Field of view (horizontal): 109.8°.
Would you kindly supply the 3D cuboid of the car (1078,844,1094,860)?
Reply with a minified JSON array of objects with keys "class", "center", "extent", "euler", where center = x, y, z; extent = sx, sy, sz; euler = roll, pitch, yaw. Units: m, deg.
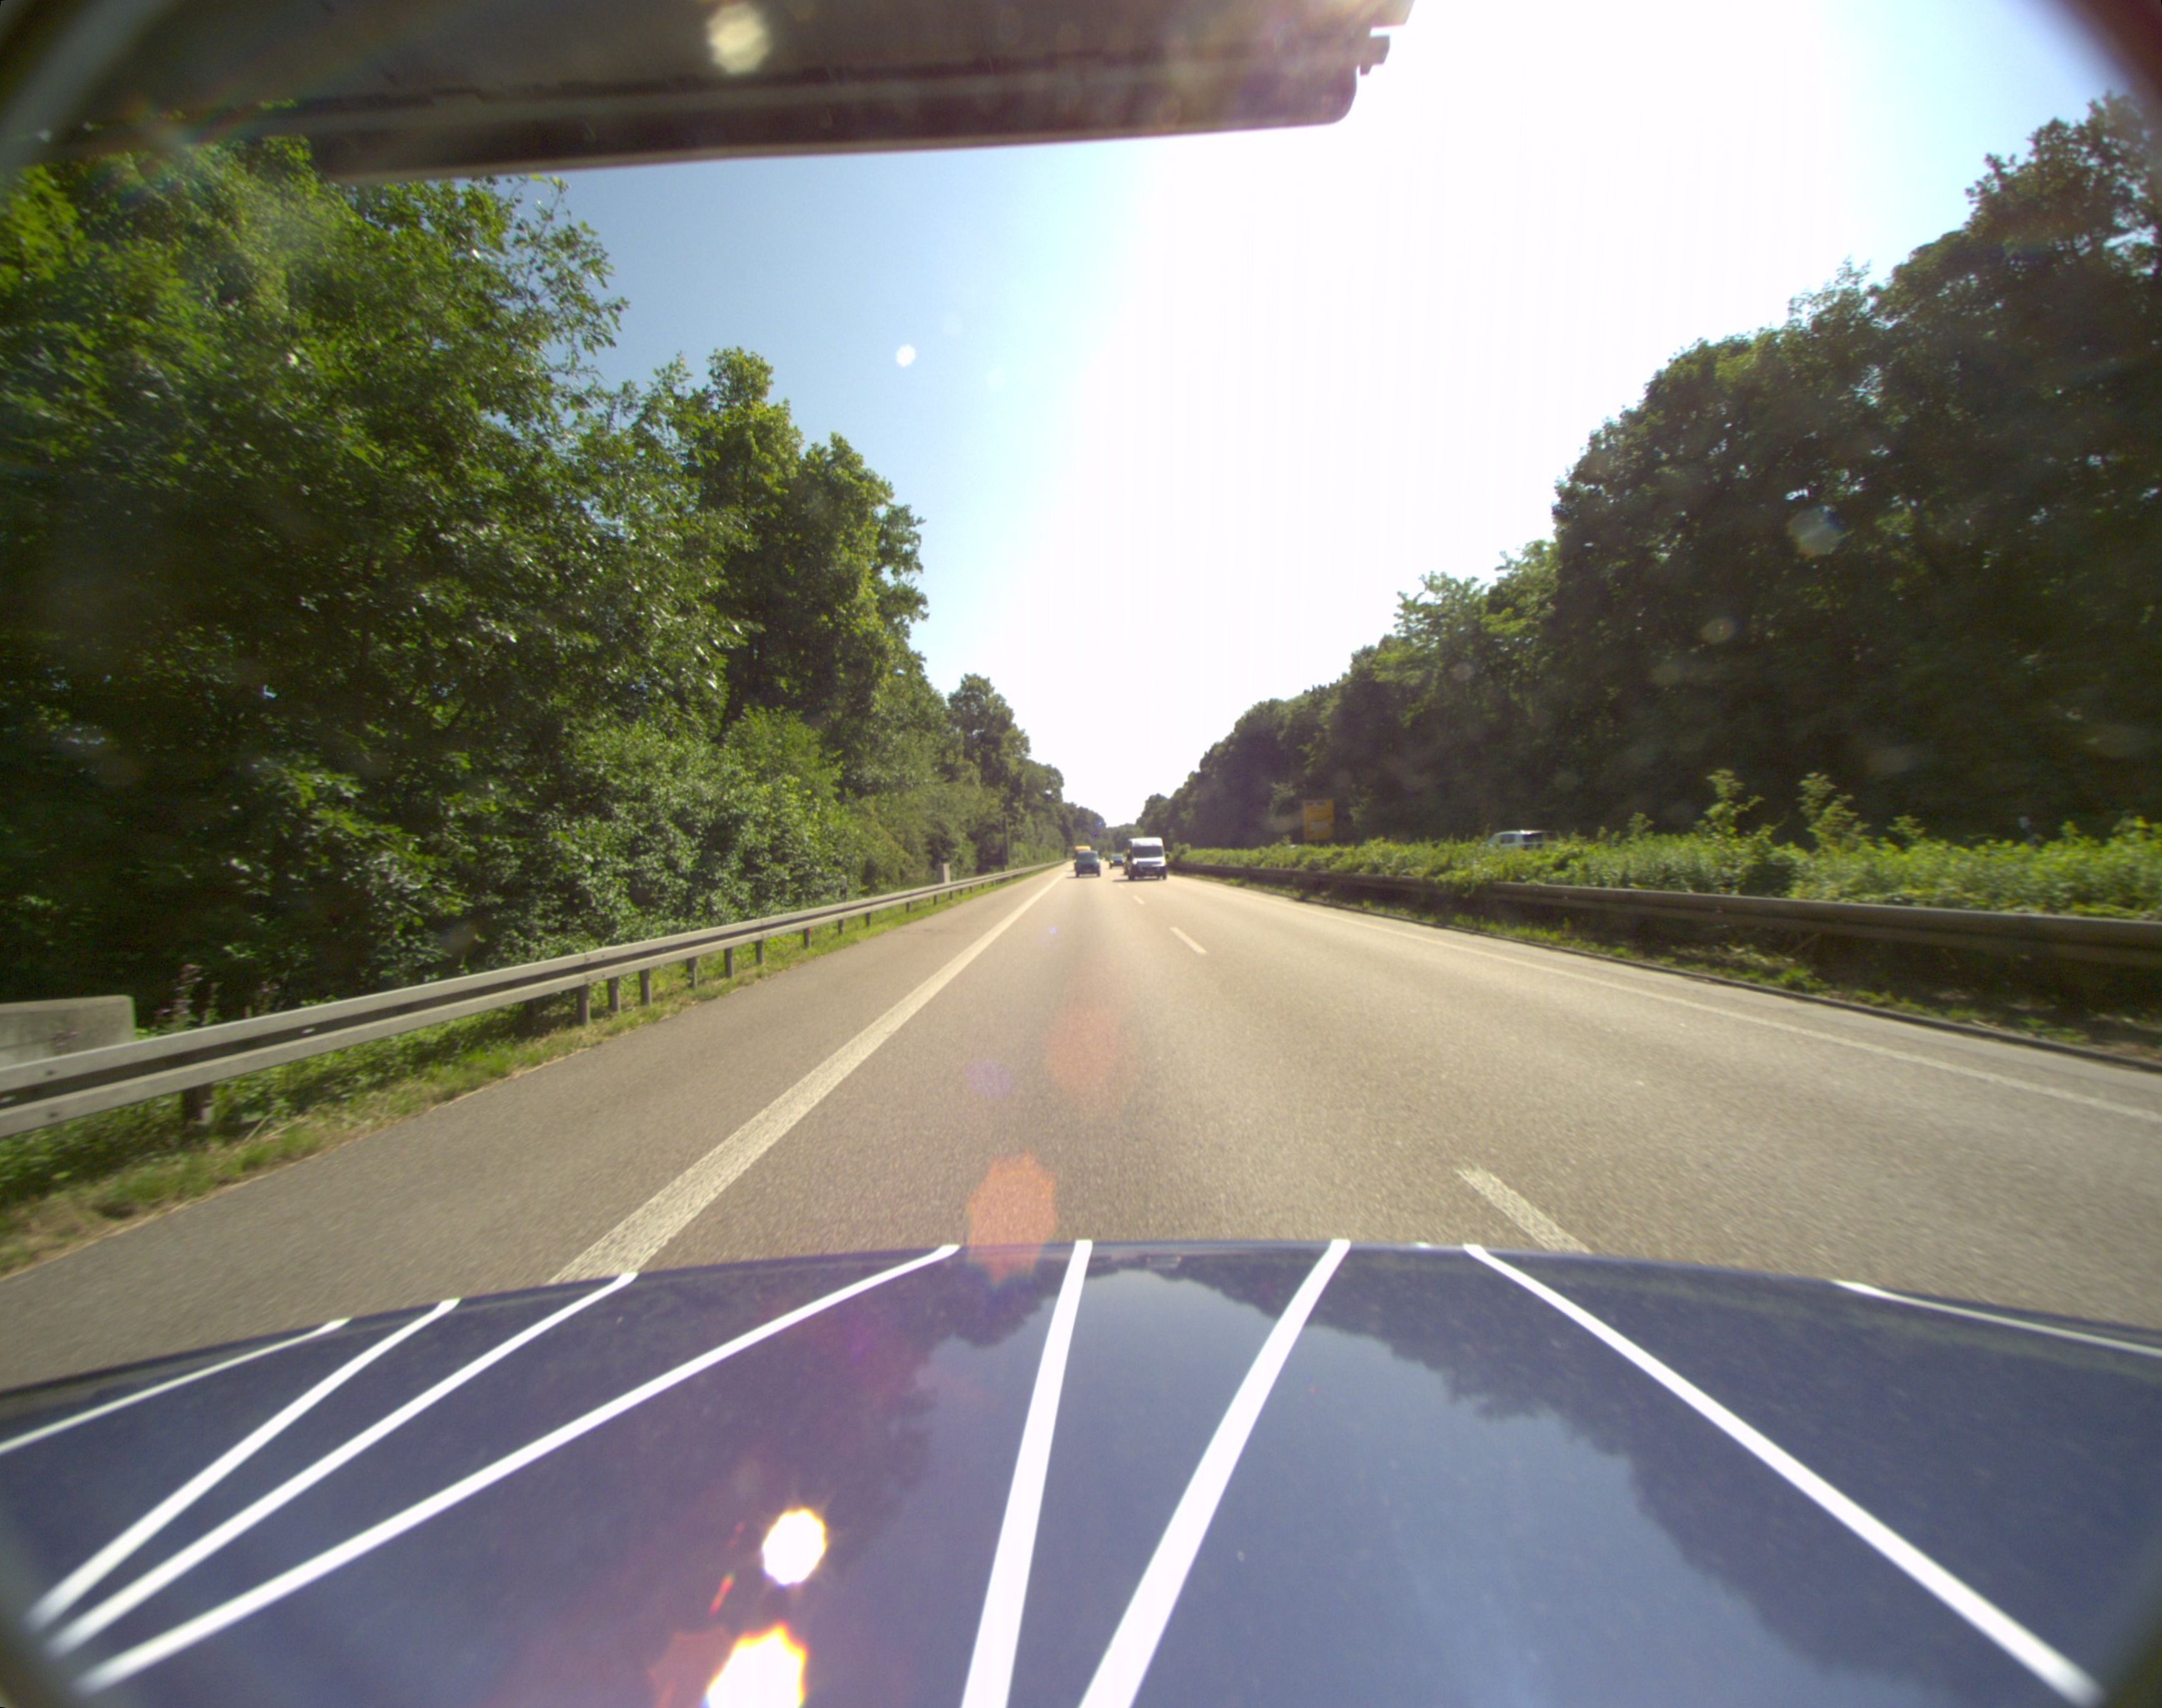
[{"class":"car","center":[0.556,-0.249,84.530],"extent":[1.737,1.624,3.899],"euler":[-2,1,1]}]

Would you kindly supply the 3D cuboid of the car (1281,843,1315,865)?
[{"class":"car","center":[16.310,-0.038,57.277],"extent":[1.552,1.557,3.384],"euler":[-2,1,0]}]

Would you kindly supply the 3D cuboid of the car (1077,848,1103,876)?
[{"class":"car","center":[0.658,0.544,56.904],"extent":[1.812,1.921,4.581],"euler":[-2,1,0]}]

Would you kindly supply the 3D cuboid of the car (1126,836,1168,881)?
[{"class":"car","center":[3.852,0.238,45.331],"extent":[2.046,2.429,4.637],"euler":[-2,1,0]}]

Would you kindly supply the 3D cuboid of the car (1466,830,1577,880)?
[{"class":"car","center":[15.938,0.034,27.719],"extent":[1.697,1.652,4.000],"euler":[-1,0,0]}]

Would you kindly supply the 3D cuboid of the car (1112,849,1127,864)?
[{"class":"car","center":[4.387,0.254,87.777],"extent":[1.517,1.624,3.611],"euler":[-2,1,1]}]
